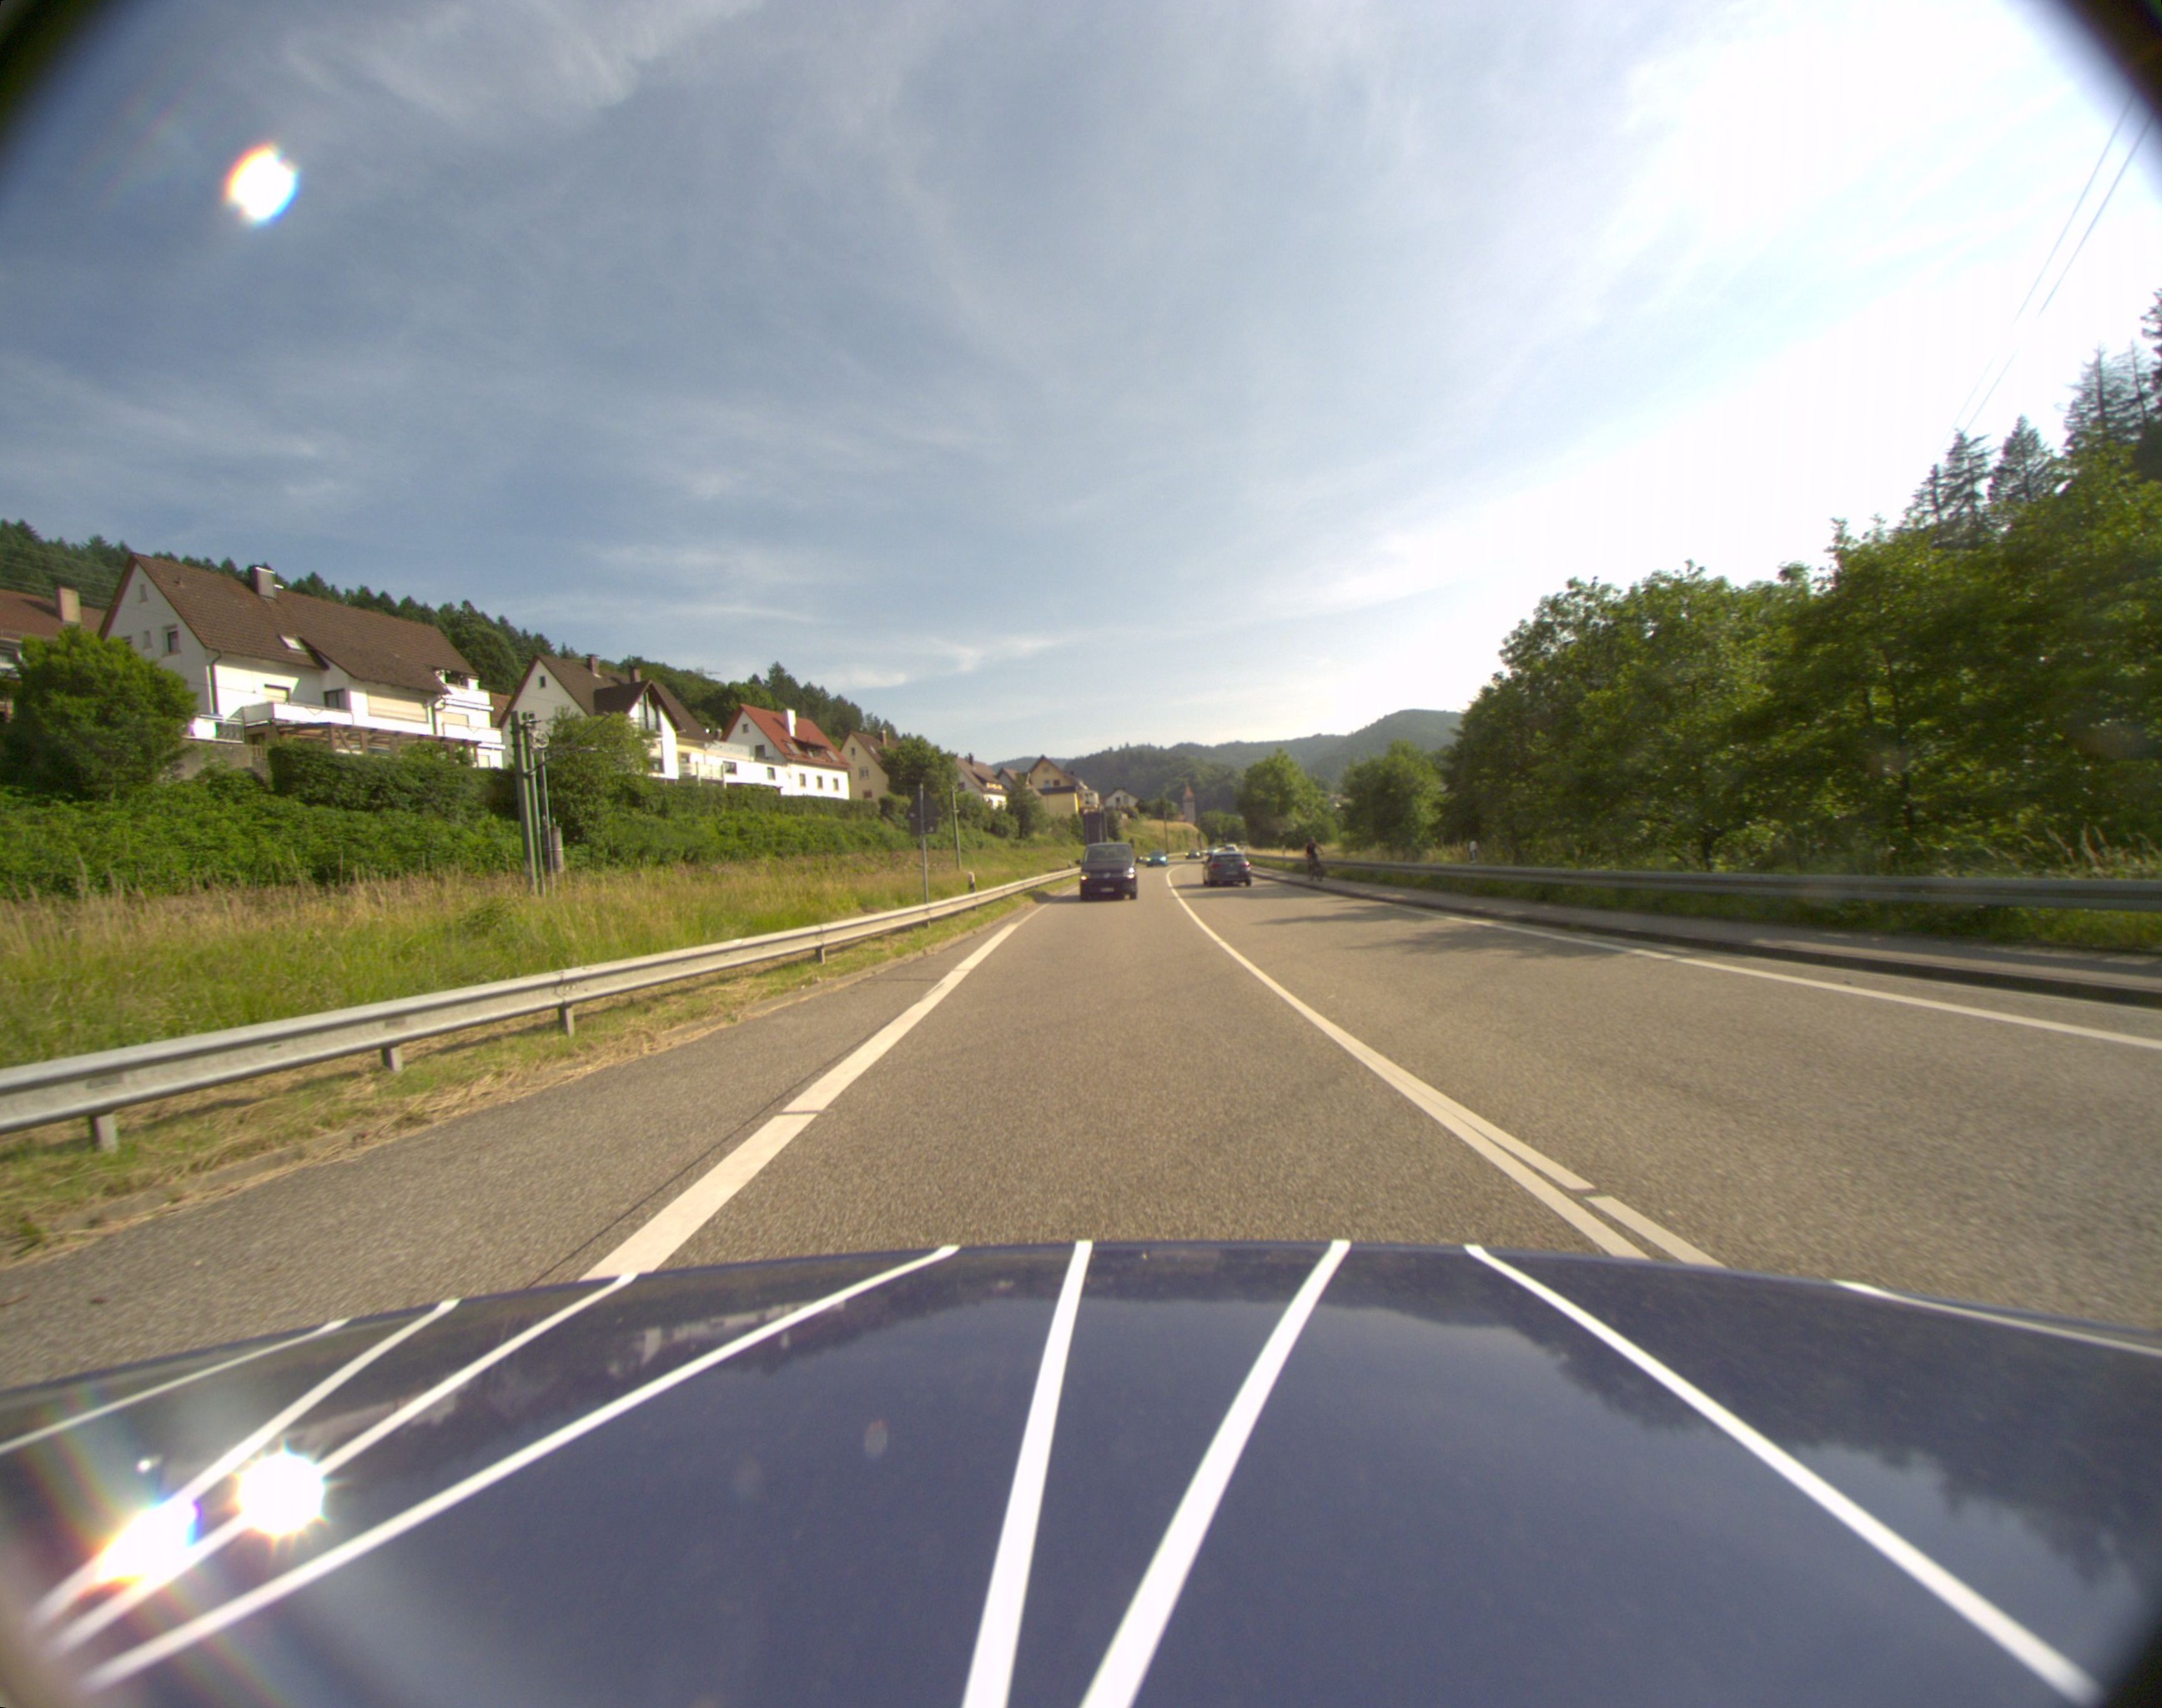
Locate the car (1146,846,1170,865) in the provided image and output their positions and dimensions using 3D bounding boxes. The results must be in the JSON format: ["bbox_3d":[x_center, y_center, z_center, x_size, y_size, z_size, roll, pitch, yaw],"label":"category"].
[{"bbox_3d":[7.248,0.117,70.876,1.883,1.735,4.181,-2,0,10],"label":"car"}]

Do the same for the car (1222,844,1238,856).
[{"bbox_3d":[20.616,-0.559,104.953,1.997,1.620,4.002,-1,2,9],"label":"car"}]

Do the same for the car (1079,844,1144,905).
[{"bbox_3d":[1.101,0.656,26.588,2.018,1.905,4.313,-2,0,3],"label":"car"}]

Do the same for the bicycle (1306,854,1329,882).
[{"bbox_3d":[9.505,0.539,30.584,0.558,1.039,2.231,-6,-1,12],"label":"bicycle"}]

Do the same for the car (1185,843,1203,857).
[{"bbox_3d":[14.863,-0.493,99.521,1.883,1.735,4.183,-2,0,14],"label":"car"}]

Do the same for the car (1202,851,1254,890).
[{"bbox_3d":[6.244,0.662,32.625,1.894,1.480,4.002,-3,0,7],"label":"car"}]

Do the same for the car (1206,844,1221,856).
[{"bbox_3d":[20.516,-0.639,117.811,1.883,1.735,4.183,-2,0,15],"label":"car"}]

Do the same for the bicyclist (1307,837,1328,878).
[{"bbox_3d":[9.504,0.144,30.604,0.558,1.577,1.036,-6,-1,12],"label":"bicyclist"}]
